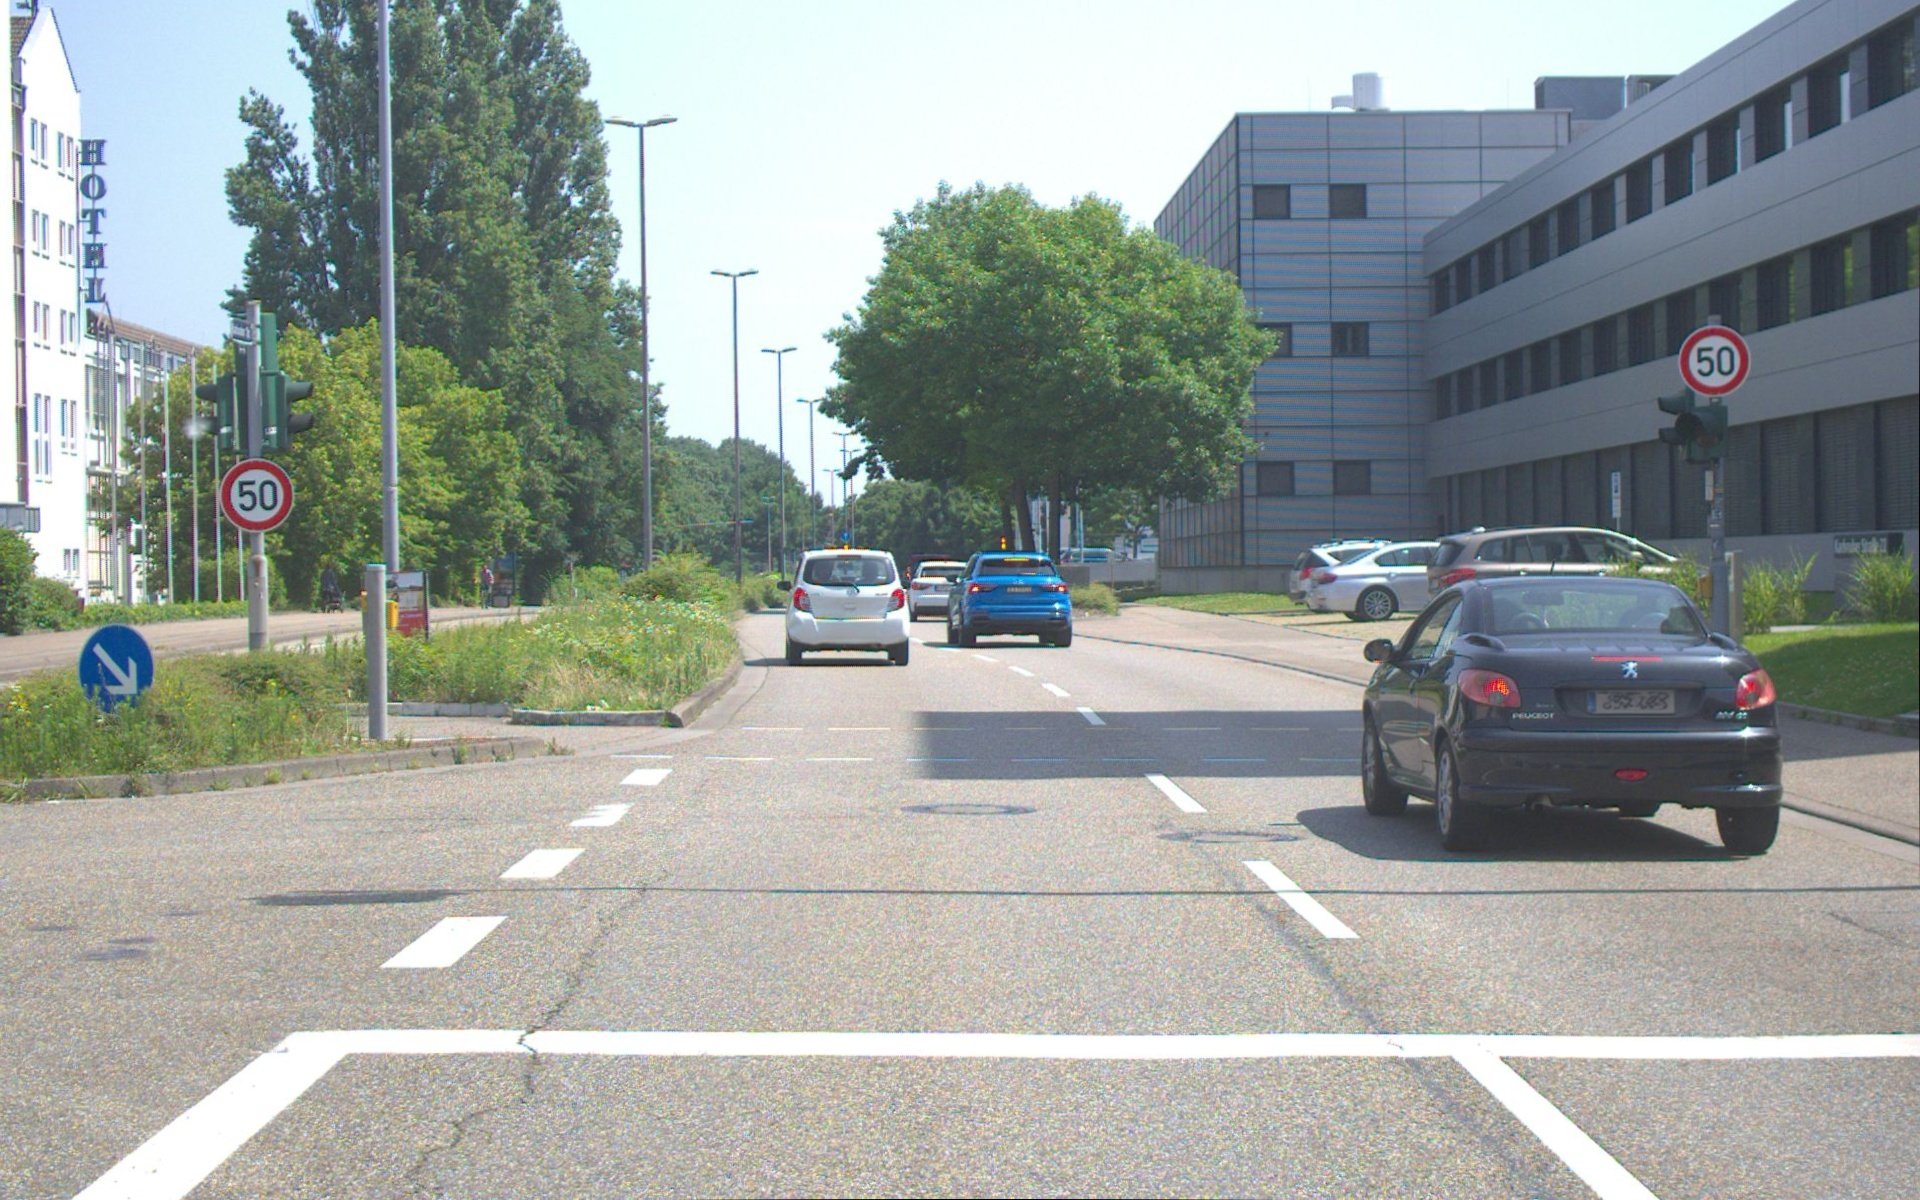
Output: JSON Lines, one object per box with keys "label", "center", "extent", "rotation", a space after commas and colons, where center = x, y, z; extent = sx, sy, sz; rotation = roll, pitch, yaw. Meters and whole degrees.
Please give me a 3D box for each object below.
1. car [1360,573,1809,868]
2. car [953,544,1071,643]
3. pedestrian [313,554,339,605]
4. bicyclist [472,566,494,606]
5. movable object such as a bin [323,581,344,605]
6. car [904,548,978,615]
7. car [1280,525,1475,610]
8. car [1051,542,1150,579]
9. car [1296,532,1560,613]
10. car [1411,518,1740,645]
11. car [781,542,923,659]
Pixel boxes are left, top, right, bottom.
{"label": "car", "center": [3.170, 0.560, 18.102], "extent": [1.627, 1.359, 3.606], "rotation": [0, 1, -1]}
{"label": "car", "center": [0.835, -0.134, 57.614], "extent": [1.827, 1.575, 3.606], "rotation": [-1, 1, -1]}
{"label": "pedestrian", "center": [-19.383, -0.627, 105.183], "extent": [0.633, 1.539, 0.727], "rotation": [-1, 0, -1]}
{"label": "bicyclist", "center": [-18.032, -0.529, 130.042], "extent": [0.717, 1.511, 1.027], "rotation": [-1, 0, -4]}
{"label": "movable object such as a bin", "center": [-19.076, -0.220, 104.700], "extent": [0.428, 0.703, 0.652], "rotation": [-1, 0, 8]}
{"label": "car", "center": [-0.436, -0.448, 80.456], "extent": [1.559, 1.515, 3.605], "rotation": [-1, 1, 2]}
{"label": "car", "center": [8.965, -0.700, 74.024], "extent": [3.811, 1.586, 1.733], "rotation": [-3, 1, -5]}
{"label": "car", "center": [6.602, -1.861, 161.690], "extent": [4.499, 1.577, 2.000], "rotation": [-2, 0, -1]}
{"label": "car", "center": [8.836, -0.530, 65.171], "extent": [4.612, 1.385, 2.000], "rotation": [-1, 1, -5]}
{"label": "car", "center": [8.807, -0.280, 49.419], "extent": [4.258, 1.683, 2.000], "rotation": [-1, 1, -5]}
{"label": "car", "center": [-1.423, -0.025, 46.531], "extent": [1.748, 1.515, 3.746], "rotation": [0, 1, 1]}
